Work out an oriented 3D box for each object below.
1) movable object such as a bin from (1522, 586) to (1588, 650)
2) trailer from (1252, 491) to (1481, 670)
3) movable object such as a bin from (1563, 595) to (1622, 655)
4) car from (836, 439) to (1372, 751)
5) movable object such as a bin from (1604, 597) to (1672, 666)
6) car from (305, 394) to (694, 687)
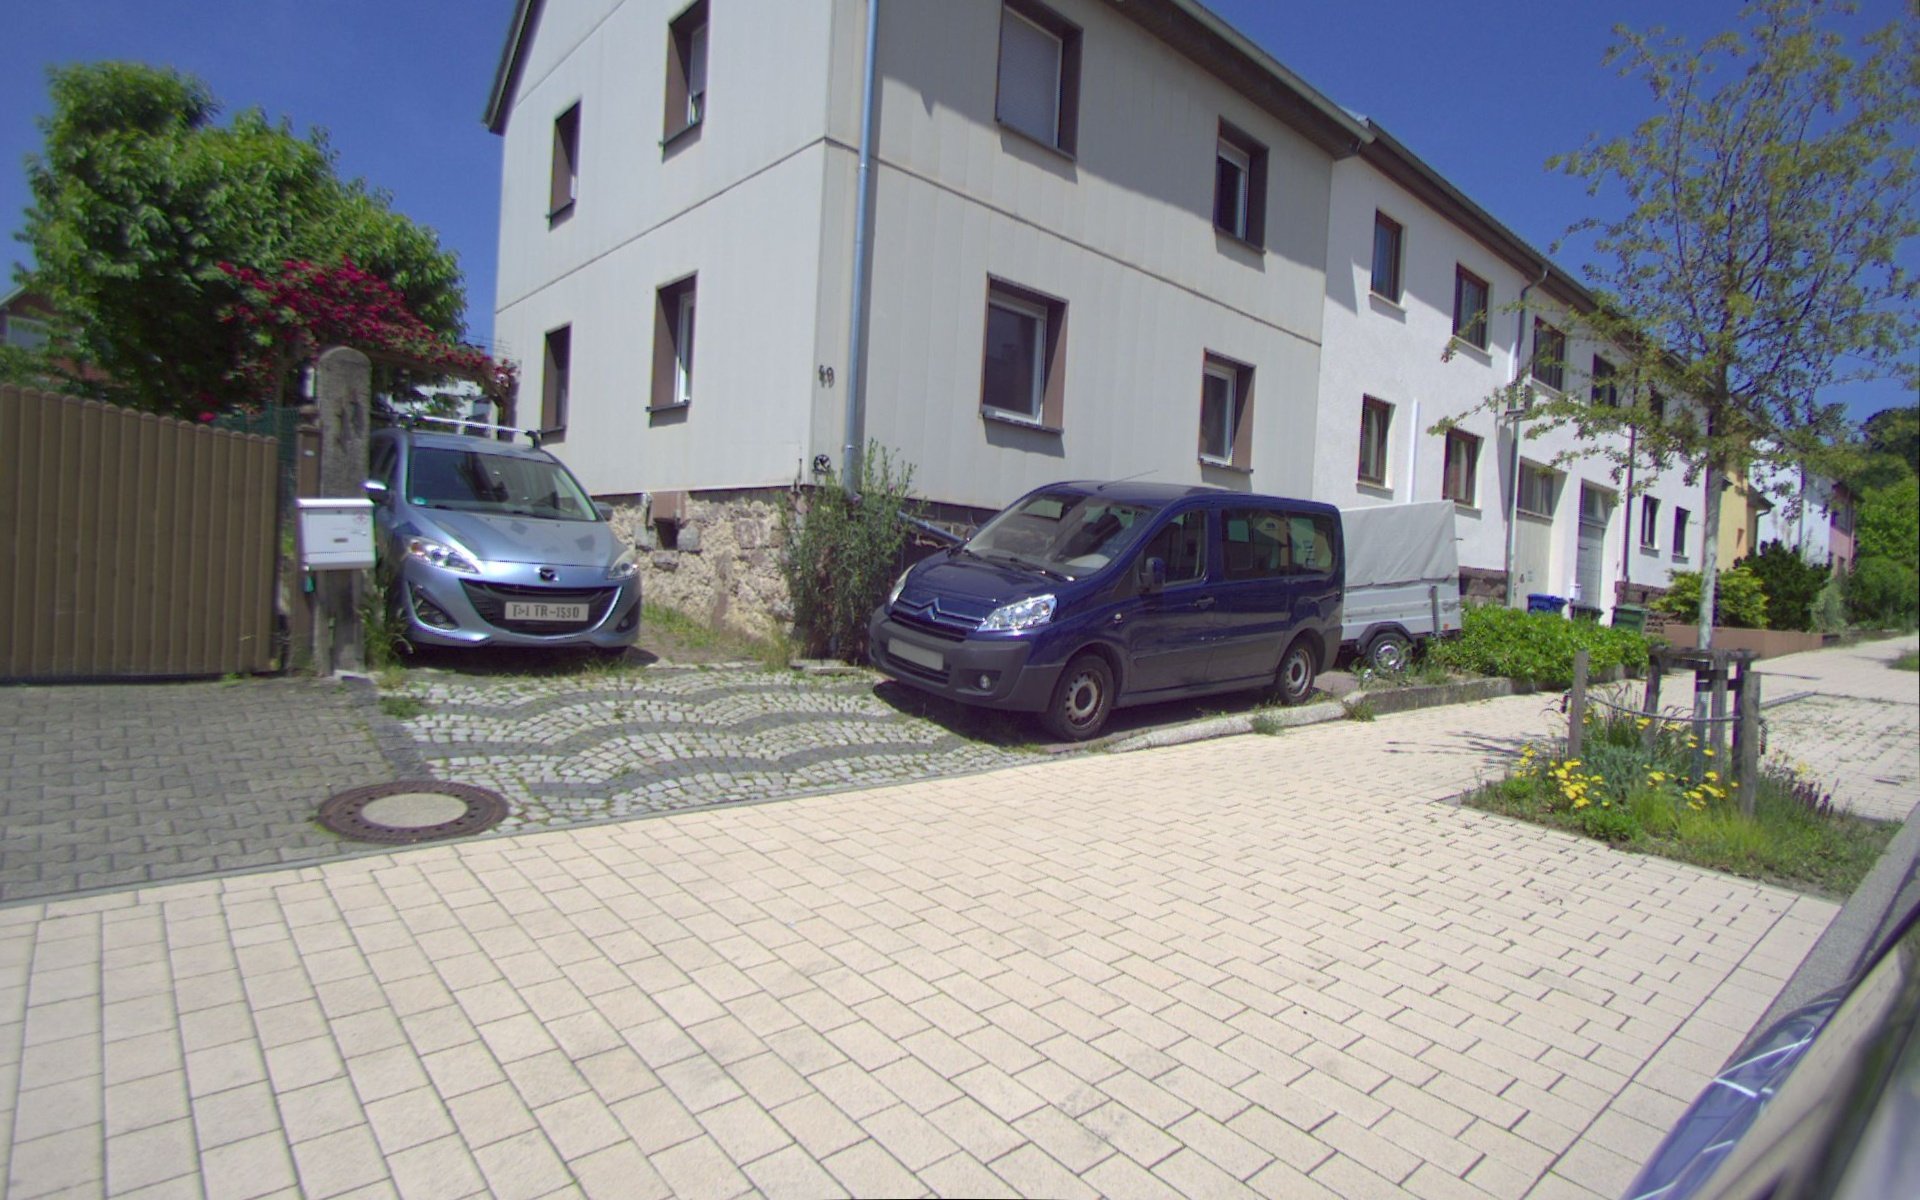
[{"bbox_3d":[11.207,0.326,19.069,0.846,1.119,0.688,1,5,-35],"label":"movable object such as a bin"},{"bbox_3d":[4.898,-0.235,12.391,2.231,2.039,1.324,1,0,1],"label":"trailer"},{"bbox_3d":[11.542,0.448,18.471,0.787,0.997,0.560,1,6,-35],"label":"movable object such as a bin"},{"bbox_3d":[1.451,-0.119,8.704,4.691,1.994,1.857,0,6,-42],"label":"car"},{"bbox_3d":[12.081,0.545,18.032,0.797,1.128,0.687,0,5,-36],"label":"movable object such as a bin"},{"bbox_3d":[-3.960,-0.626,8.275,1.857,1.785,4.001,1,8,-40],"label":"car"}]
